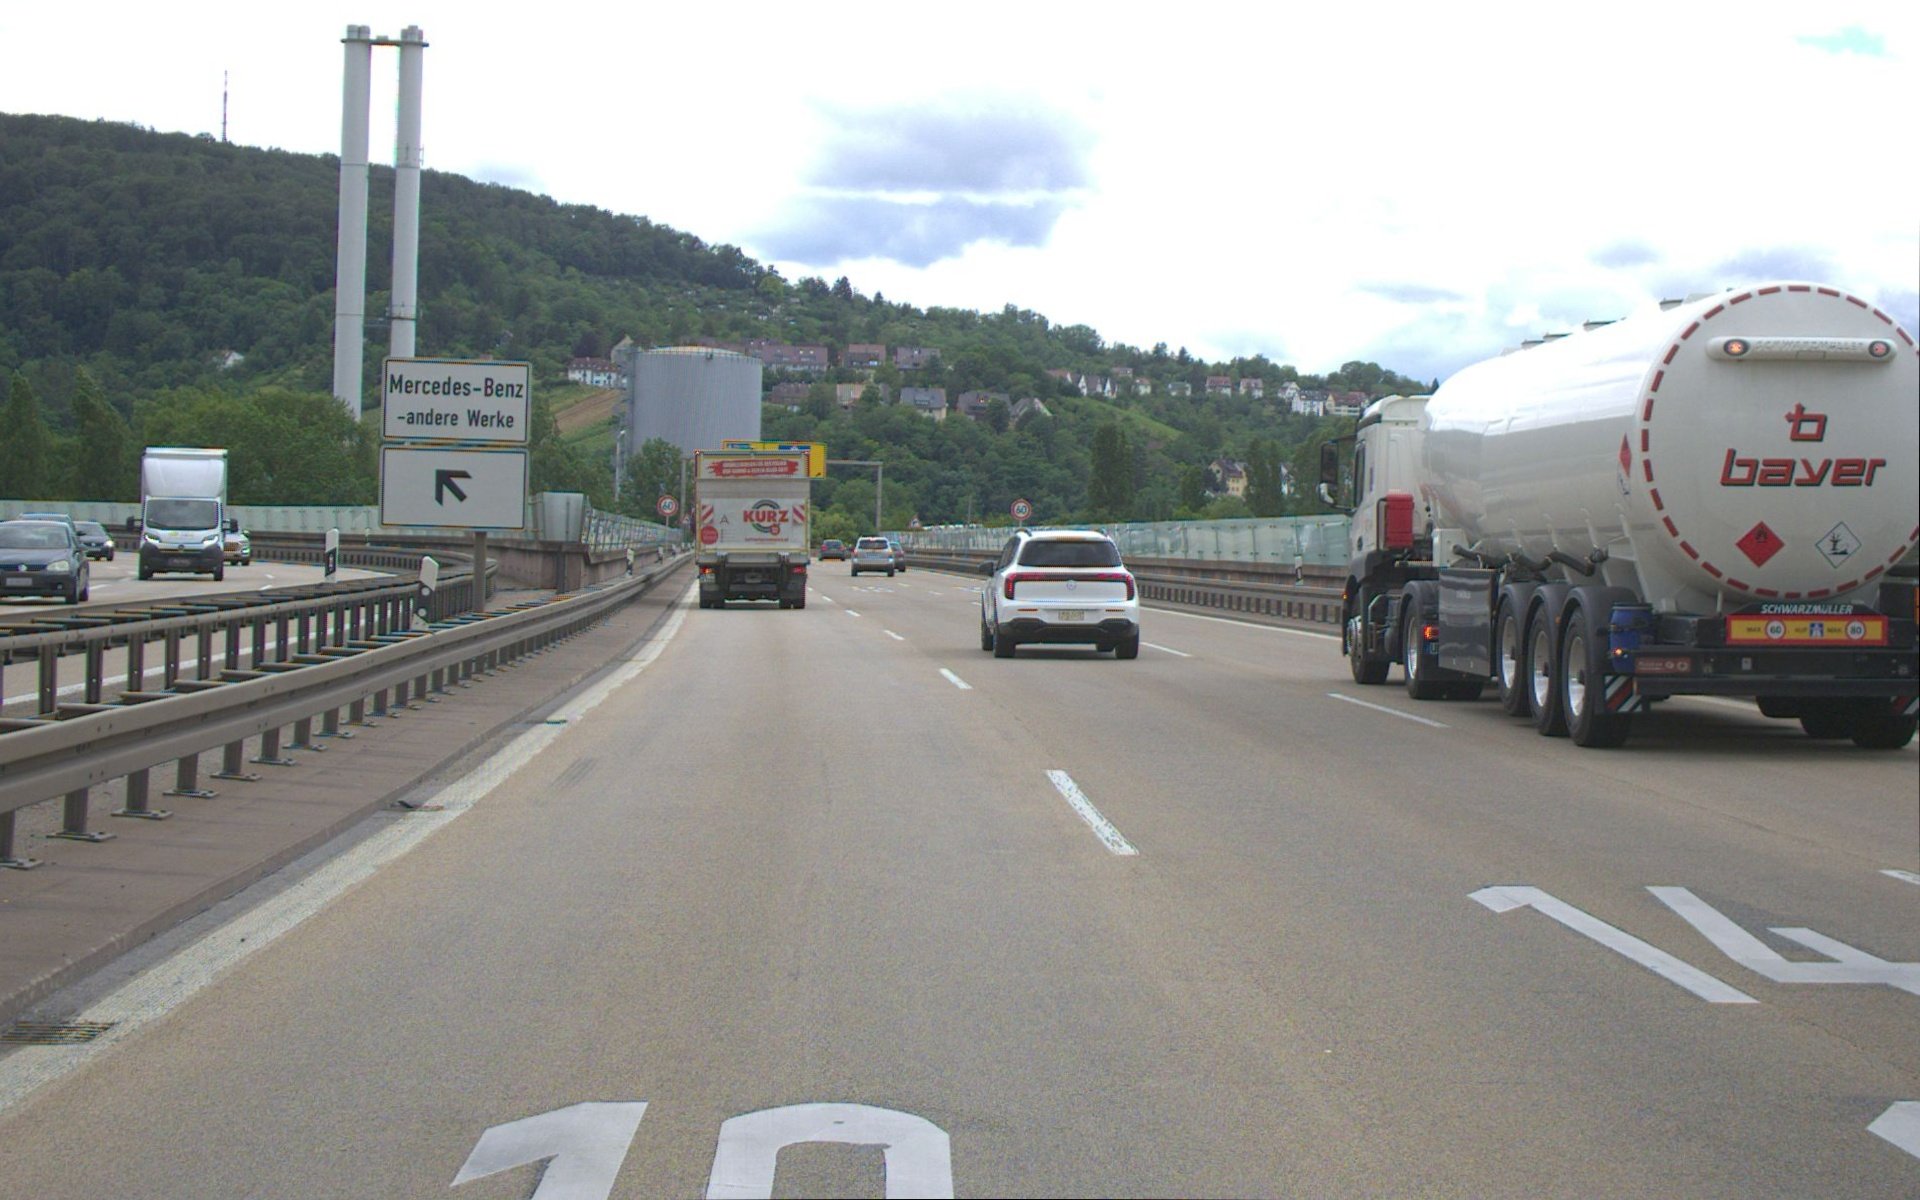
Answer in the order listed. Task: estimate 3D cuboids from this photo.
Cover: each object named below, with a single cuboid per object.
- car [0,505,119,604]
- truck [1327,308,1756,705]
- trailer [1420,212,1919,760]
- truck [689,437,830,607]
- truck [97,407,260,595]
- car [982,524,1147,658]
[{"bbox_3d":[-16.167,-0.790,60.503,1.993,1.669,4.409,1,0,-5],"label":"car"},{"bbox_3d":[5.728,-0.883,34.986,3.014,3.644,6.274,1,0,-2],"label":"truck"},{"bbox_3d":[5.992,-0.818,28.026,3.057,3.777,8.304,1,0,-2],"label":"trailer"},{"bbox_3d":[-4.644,-1.745,79.557,3.056,3.678,8.305,1,0,-3],"label":"truck"},{"bbox_3d":[-19.940,-2.457,88.148,3.056,4.547,8.305,1,0,-6],"label":"truck"},{"bbox_3d":[1.335,-0.124,45.601,1.993,1.669,4.408,1,0,-1],"label":"car"}]
